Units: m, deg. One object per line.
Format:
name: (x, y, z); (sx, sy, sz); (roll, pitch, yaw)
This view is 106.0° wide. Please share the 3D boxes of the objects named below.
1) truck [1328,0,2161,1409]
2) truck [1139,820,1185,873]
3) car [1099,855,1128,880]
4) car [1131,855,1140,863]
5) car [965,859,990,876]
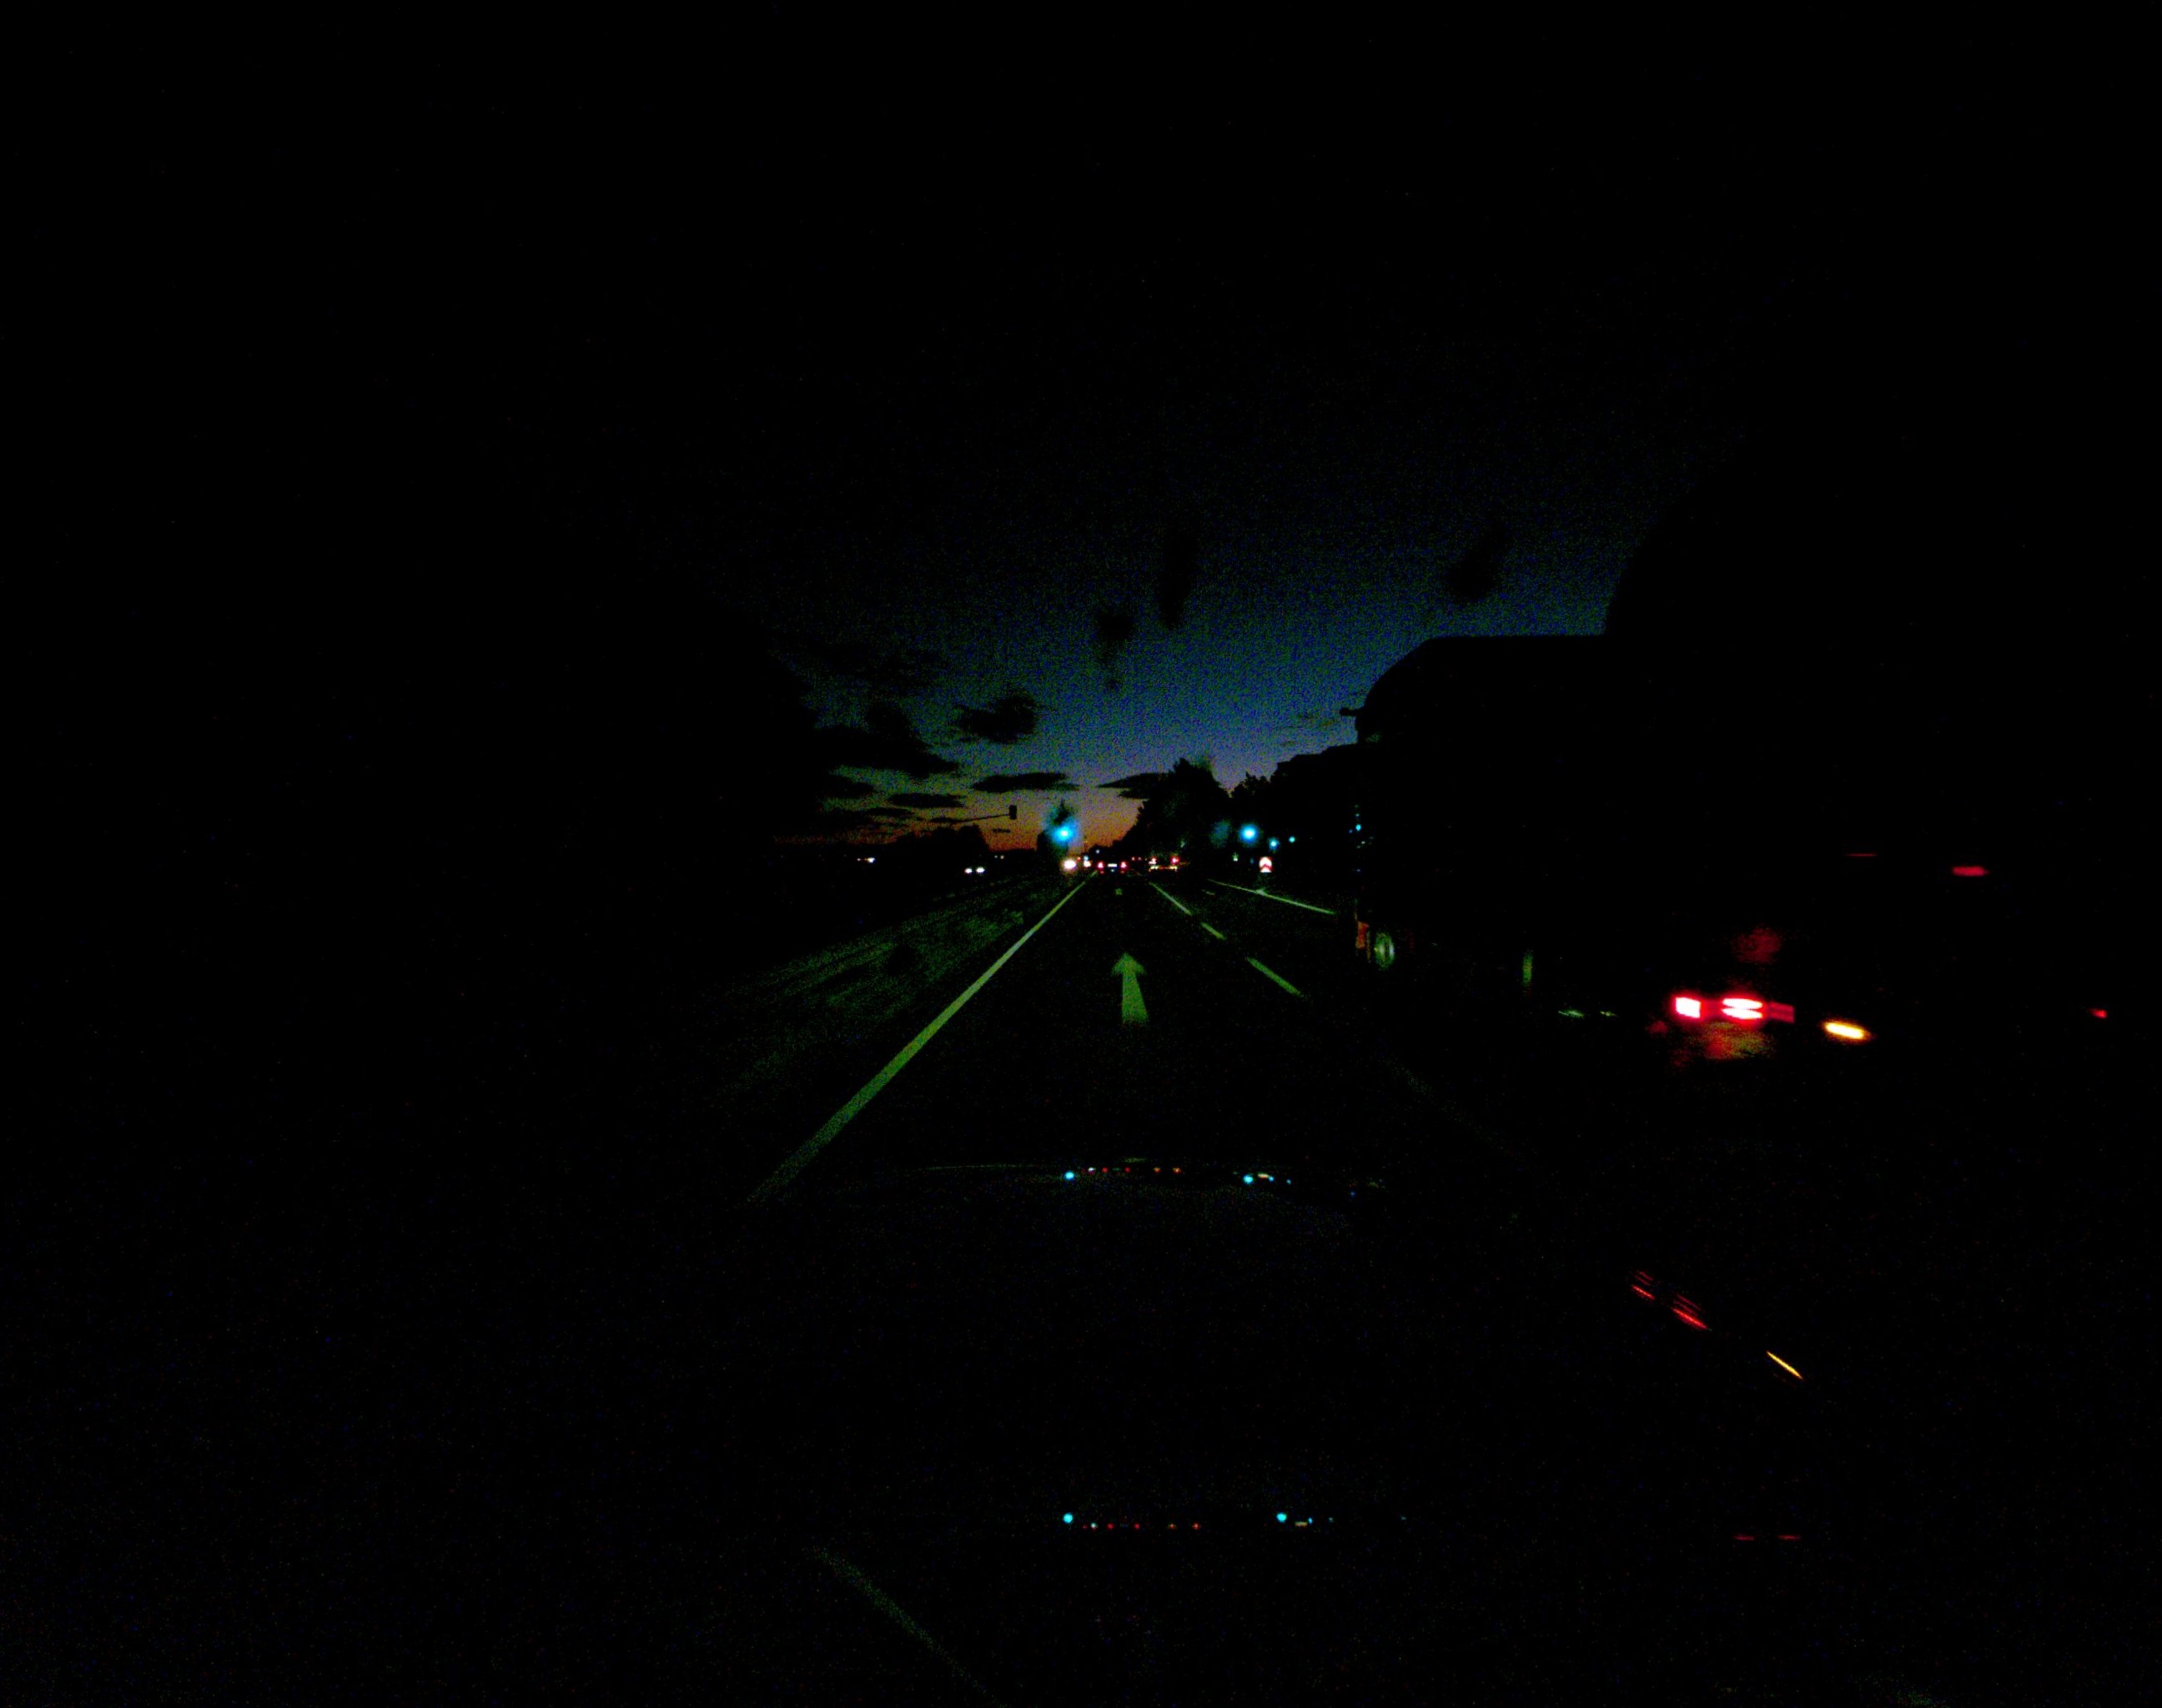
truck: (4.236, -0.619, 4.063); (2.676, 4.106, 13.151); (0, 0, 3)
truck: (6.746, -0.556, 69.710); (2.873, 4.106, 12.685); (0, 0, 1)
car: (1.933, 0.769, 49.237); (1.689, 1.452, 3.915); (0, 0, 1)
car: (10.797, 1.029, 162.282); (1.689, 1.452, 3.915); (0, 0, 1)
car: (-9.099, 1.180, 71.946); (1.600, 1.330, 3.940); (-3, 0, 1)
